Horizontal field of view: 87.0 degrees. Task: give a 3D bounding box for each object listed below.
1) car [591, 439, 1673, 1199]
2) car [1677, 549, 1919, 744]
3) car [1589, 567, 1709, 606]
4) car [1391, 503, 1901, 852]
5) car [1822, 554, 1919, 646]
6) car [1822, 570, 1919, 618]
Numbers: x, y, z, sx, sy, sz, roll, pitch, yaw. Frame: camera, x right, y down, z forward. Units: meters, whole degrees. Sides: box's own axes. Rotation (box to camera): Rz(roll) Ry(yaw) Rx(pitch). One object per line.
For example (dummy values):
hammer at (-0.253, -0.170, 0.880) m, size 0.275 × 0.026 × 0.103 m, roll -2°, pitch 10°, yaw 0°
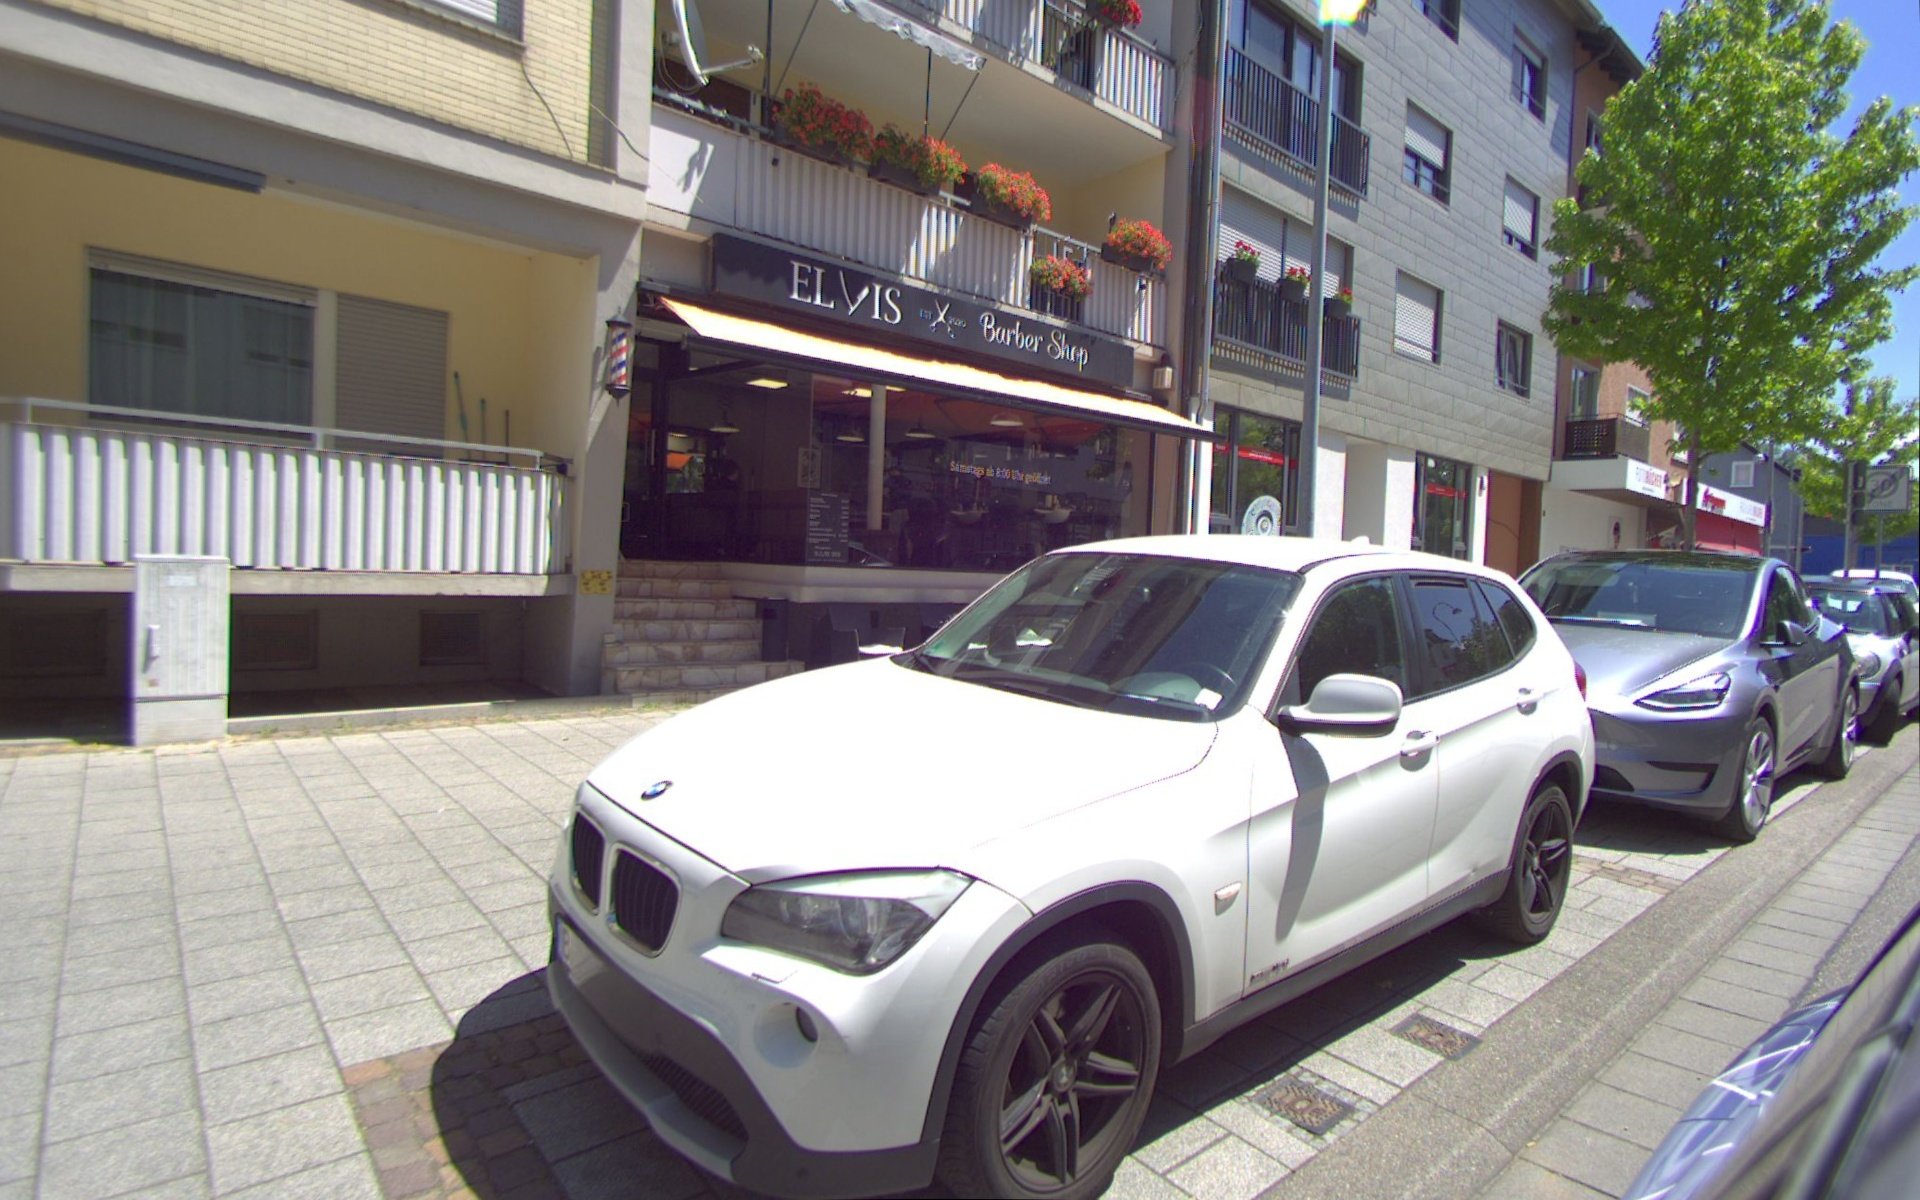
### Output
car at (0.983, 0.424, 3.871) m, size 4.149 × 1.602 × 1.727 m, roll 0°, pitch 5°, yaw -39°
car at (8.822, 0.343, 10.255) m, size 3.773 × 1.577 × 1.626 m, roll 0°, pitch 4°, yaw -41°
car at (34.107, -0.721, 50.179) m, size 1.966 × 1.708 × 4.520 m, roll -1°, pitch 4°, yaw -41°
car at (5.088, 0.316, 7.209) m, size 4.623 × 1.726 × 1.768 m, roll 0°, pitch 5°, yaw -41°
car at (20.017, -0.035, 21.966) m, size 1.745 × 1.744 × 3.856 m, roll 6°, pitch 5°, yaw 39°
car at (35.833, -0.191, 38.702) m, size 1.771 × 1.583 × 4.000 m, roll 3°, pitch 2°, yaw -38°
